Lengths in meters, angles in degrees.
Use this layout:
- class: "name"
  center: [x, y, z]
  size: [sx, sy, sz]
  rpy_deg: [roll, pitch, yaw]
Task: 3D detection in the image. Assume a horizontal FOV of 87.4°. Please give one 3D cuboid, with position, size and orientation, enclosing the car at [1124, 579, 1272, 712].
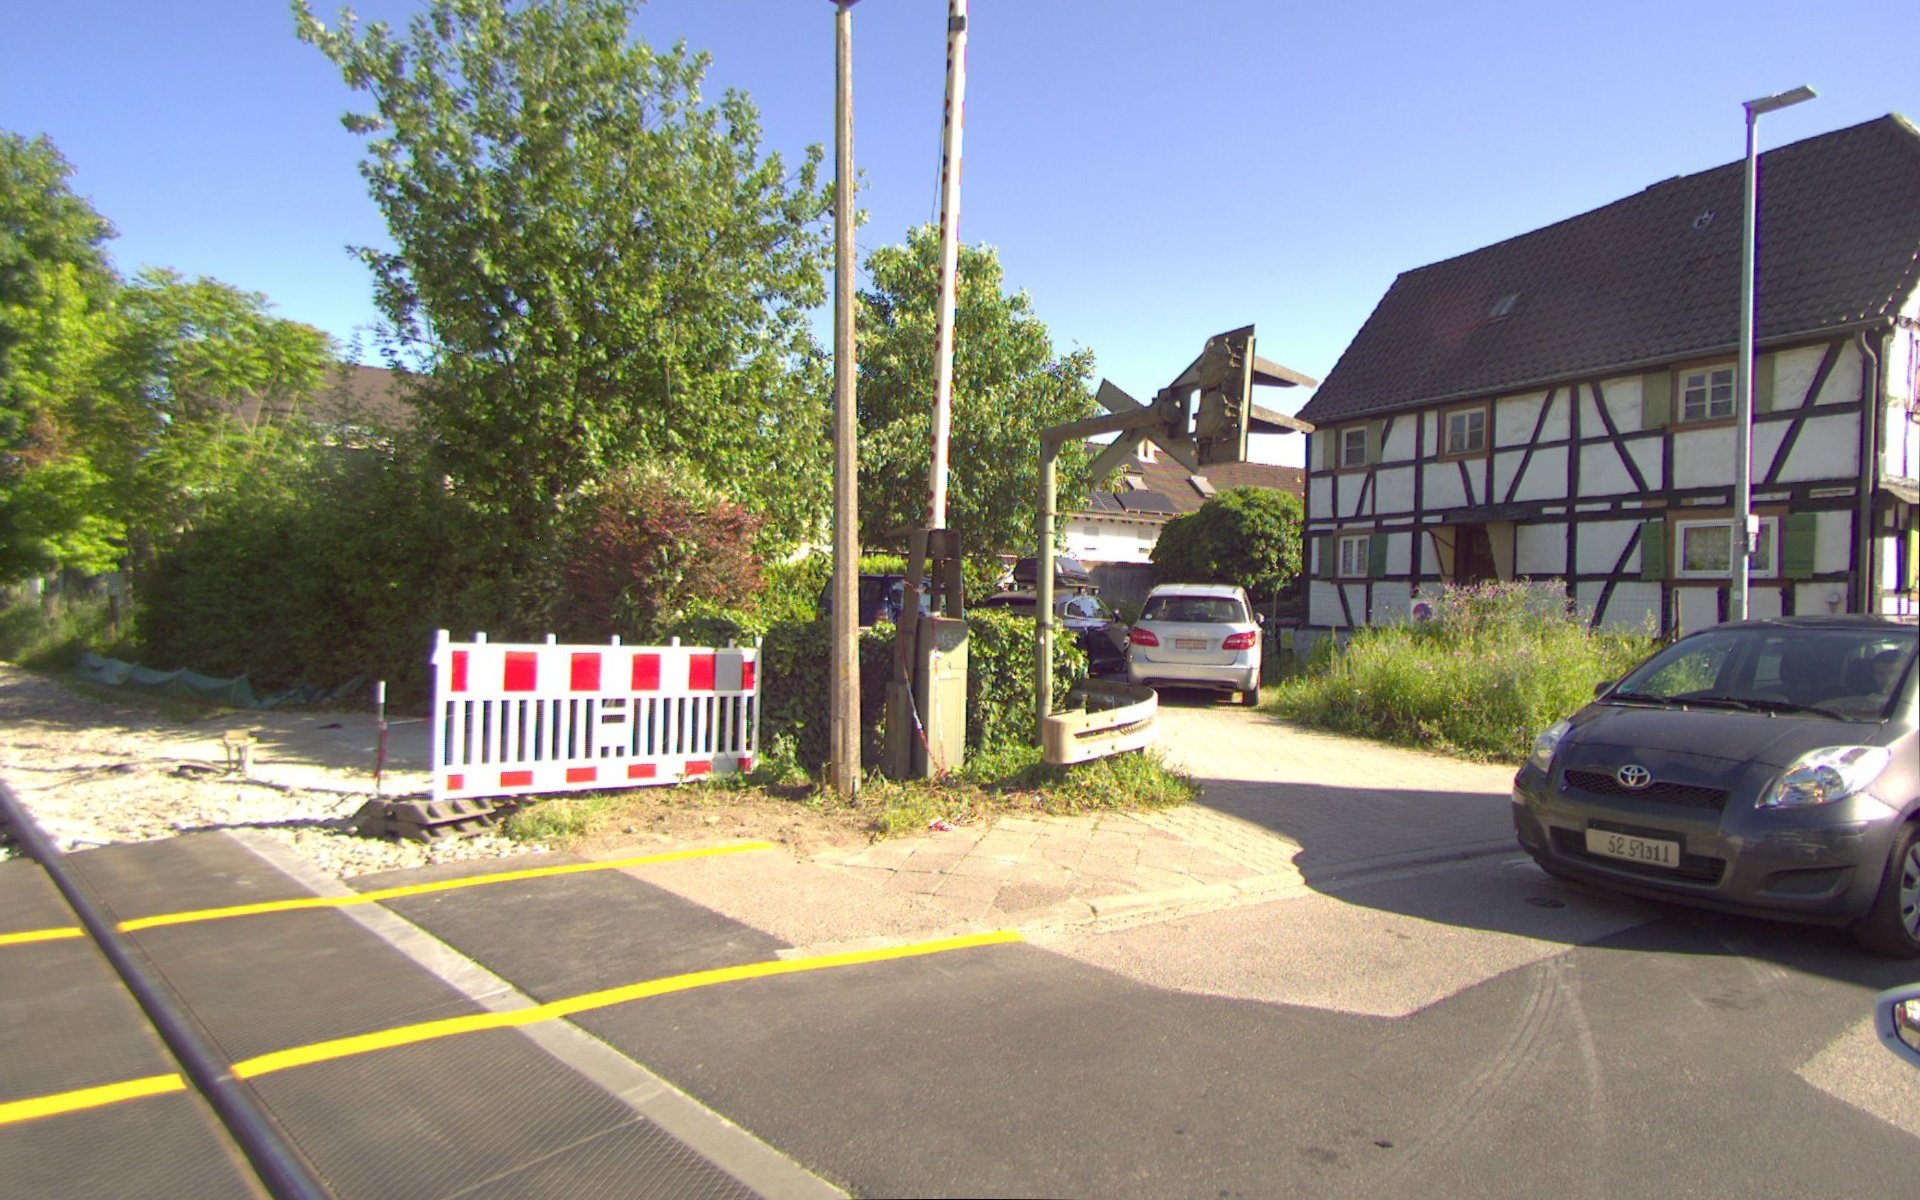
- class: "car"
  center: [3.594, 0.547, 14.672]
  size: [1.655, 1.585, 4.000]
  rpy_deg: [3, 1, 19]

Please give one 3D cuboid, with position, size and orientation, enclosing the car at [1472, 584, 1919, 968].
- class: "car"
  center: [4.815, 0.781, 5.570]
  size: [3.606, 1.530, 1.681]
  rpy_deg: [2, -3, -26]

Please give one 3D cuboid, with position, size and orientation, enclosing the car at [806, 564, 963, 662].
- class: "car"
  center: [-1.335, 0.223, 19.398]
  size: [1.619, 1.655, 3.832]
  rpy_deg: [2, 1, 19]

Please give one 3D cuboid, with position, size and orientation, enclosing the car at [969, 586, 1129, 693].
- class: "car"
  center: [1.517, 0.524, 15.795]
  size: [1.610, 1.421, 3.832]
  rpy_deg: [2, 1, 19]
